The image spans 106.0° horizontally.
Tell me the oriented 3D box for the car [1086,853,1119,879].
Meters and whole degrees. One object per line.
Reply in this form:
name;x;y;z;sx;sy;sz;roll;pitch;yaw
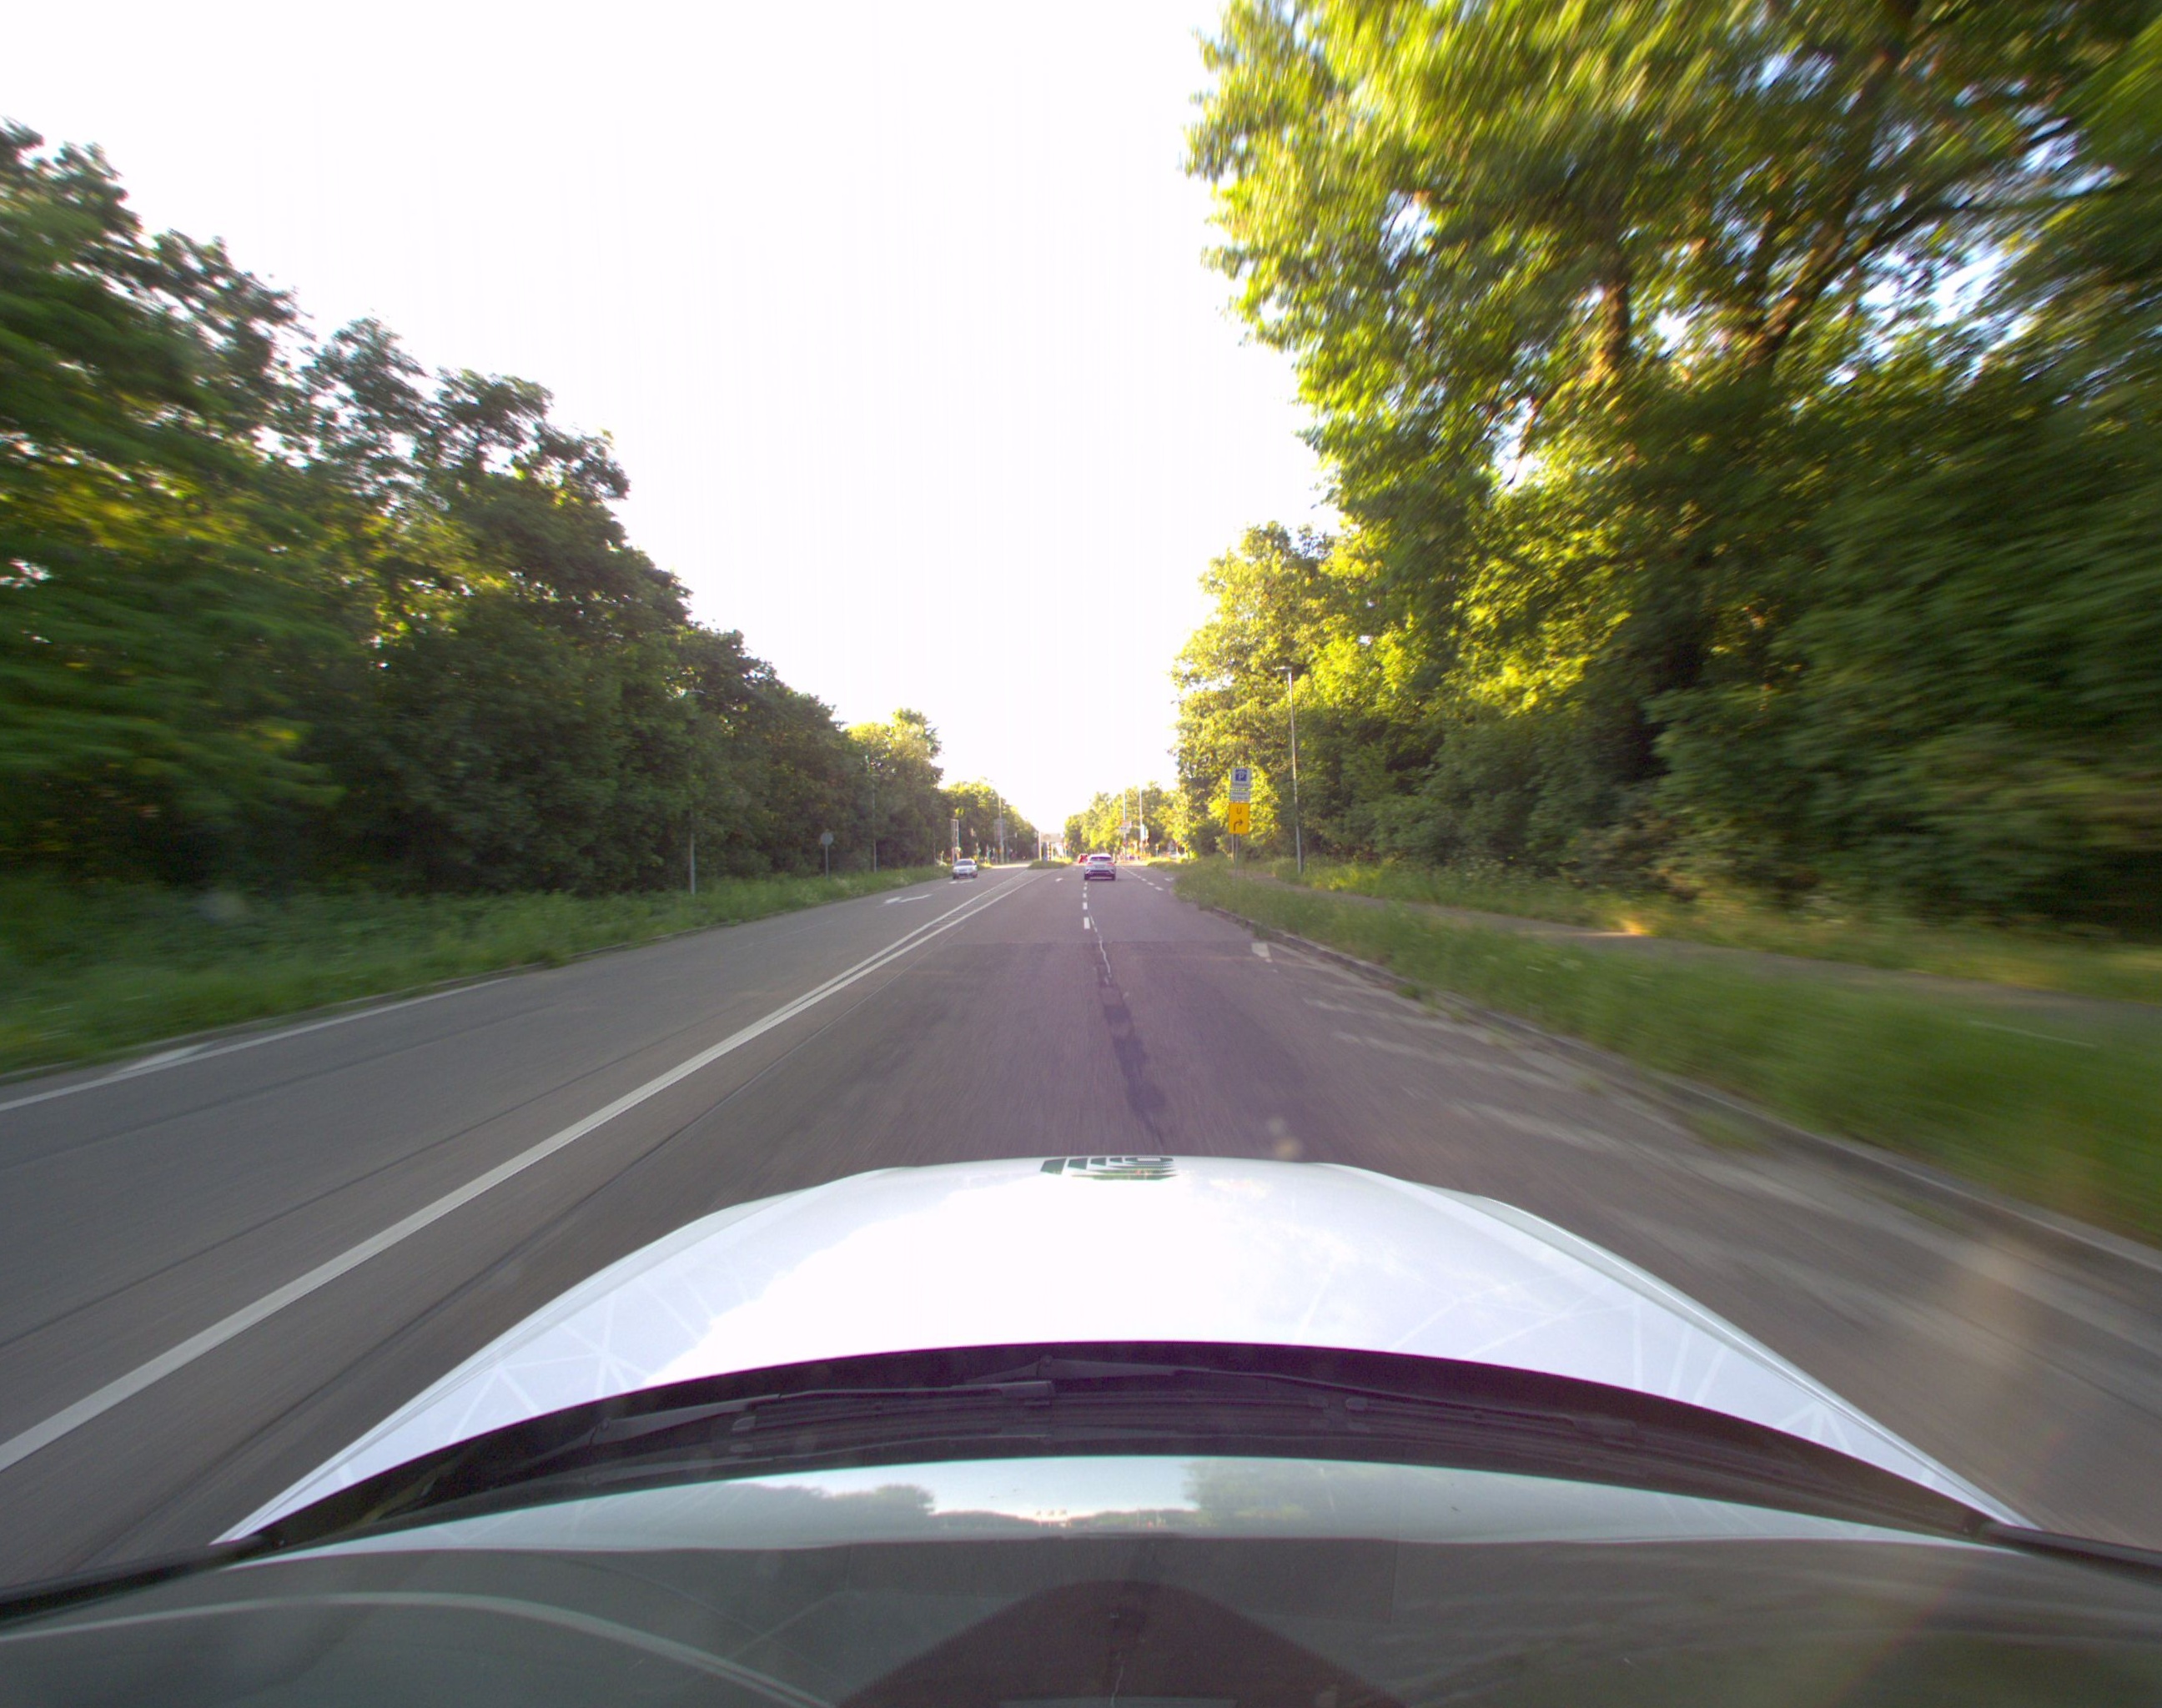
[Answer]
car;1.225;0.672;48.012;1.857;1.444;4.000;0;0;1

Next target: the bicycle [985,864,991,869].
bicycle;-17.415;2.280;151.927;0.711;0.914;1.913;-1;0;4

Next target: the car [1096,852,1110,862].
car;3.200;0.483;118.124;1.933;1.414;4.001;-1;0;1

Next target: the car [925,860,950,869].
car;-23.936;1.783;135.683;3.806;1.389;1.912;-1;0;-25

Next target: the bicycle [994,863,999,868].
bicycle;-16.045;2.220;154.851;0.711;0.914;1.913;-1;0;4

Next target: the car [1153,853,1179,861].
car;16.936;0.615;161.734;4.835;1.580;1.986;-1;-1;-21

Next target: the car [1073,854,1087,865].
car;-0.191;0.882;125.377;1.989;1.684;3.995;-1;0;-3

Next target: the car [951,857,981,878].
car;-8.860;1.044;62.946;1.825;1.455;4.475;-4;0;-3
